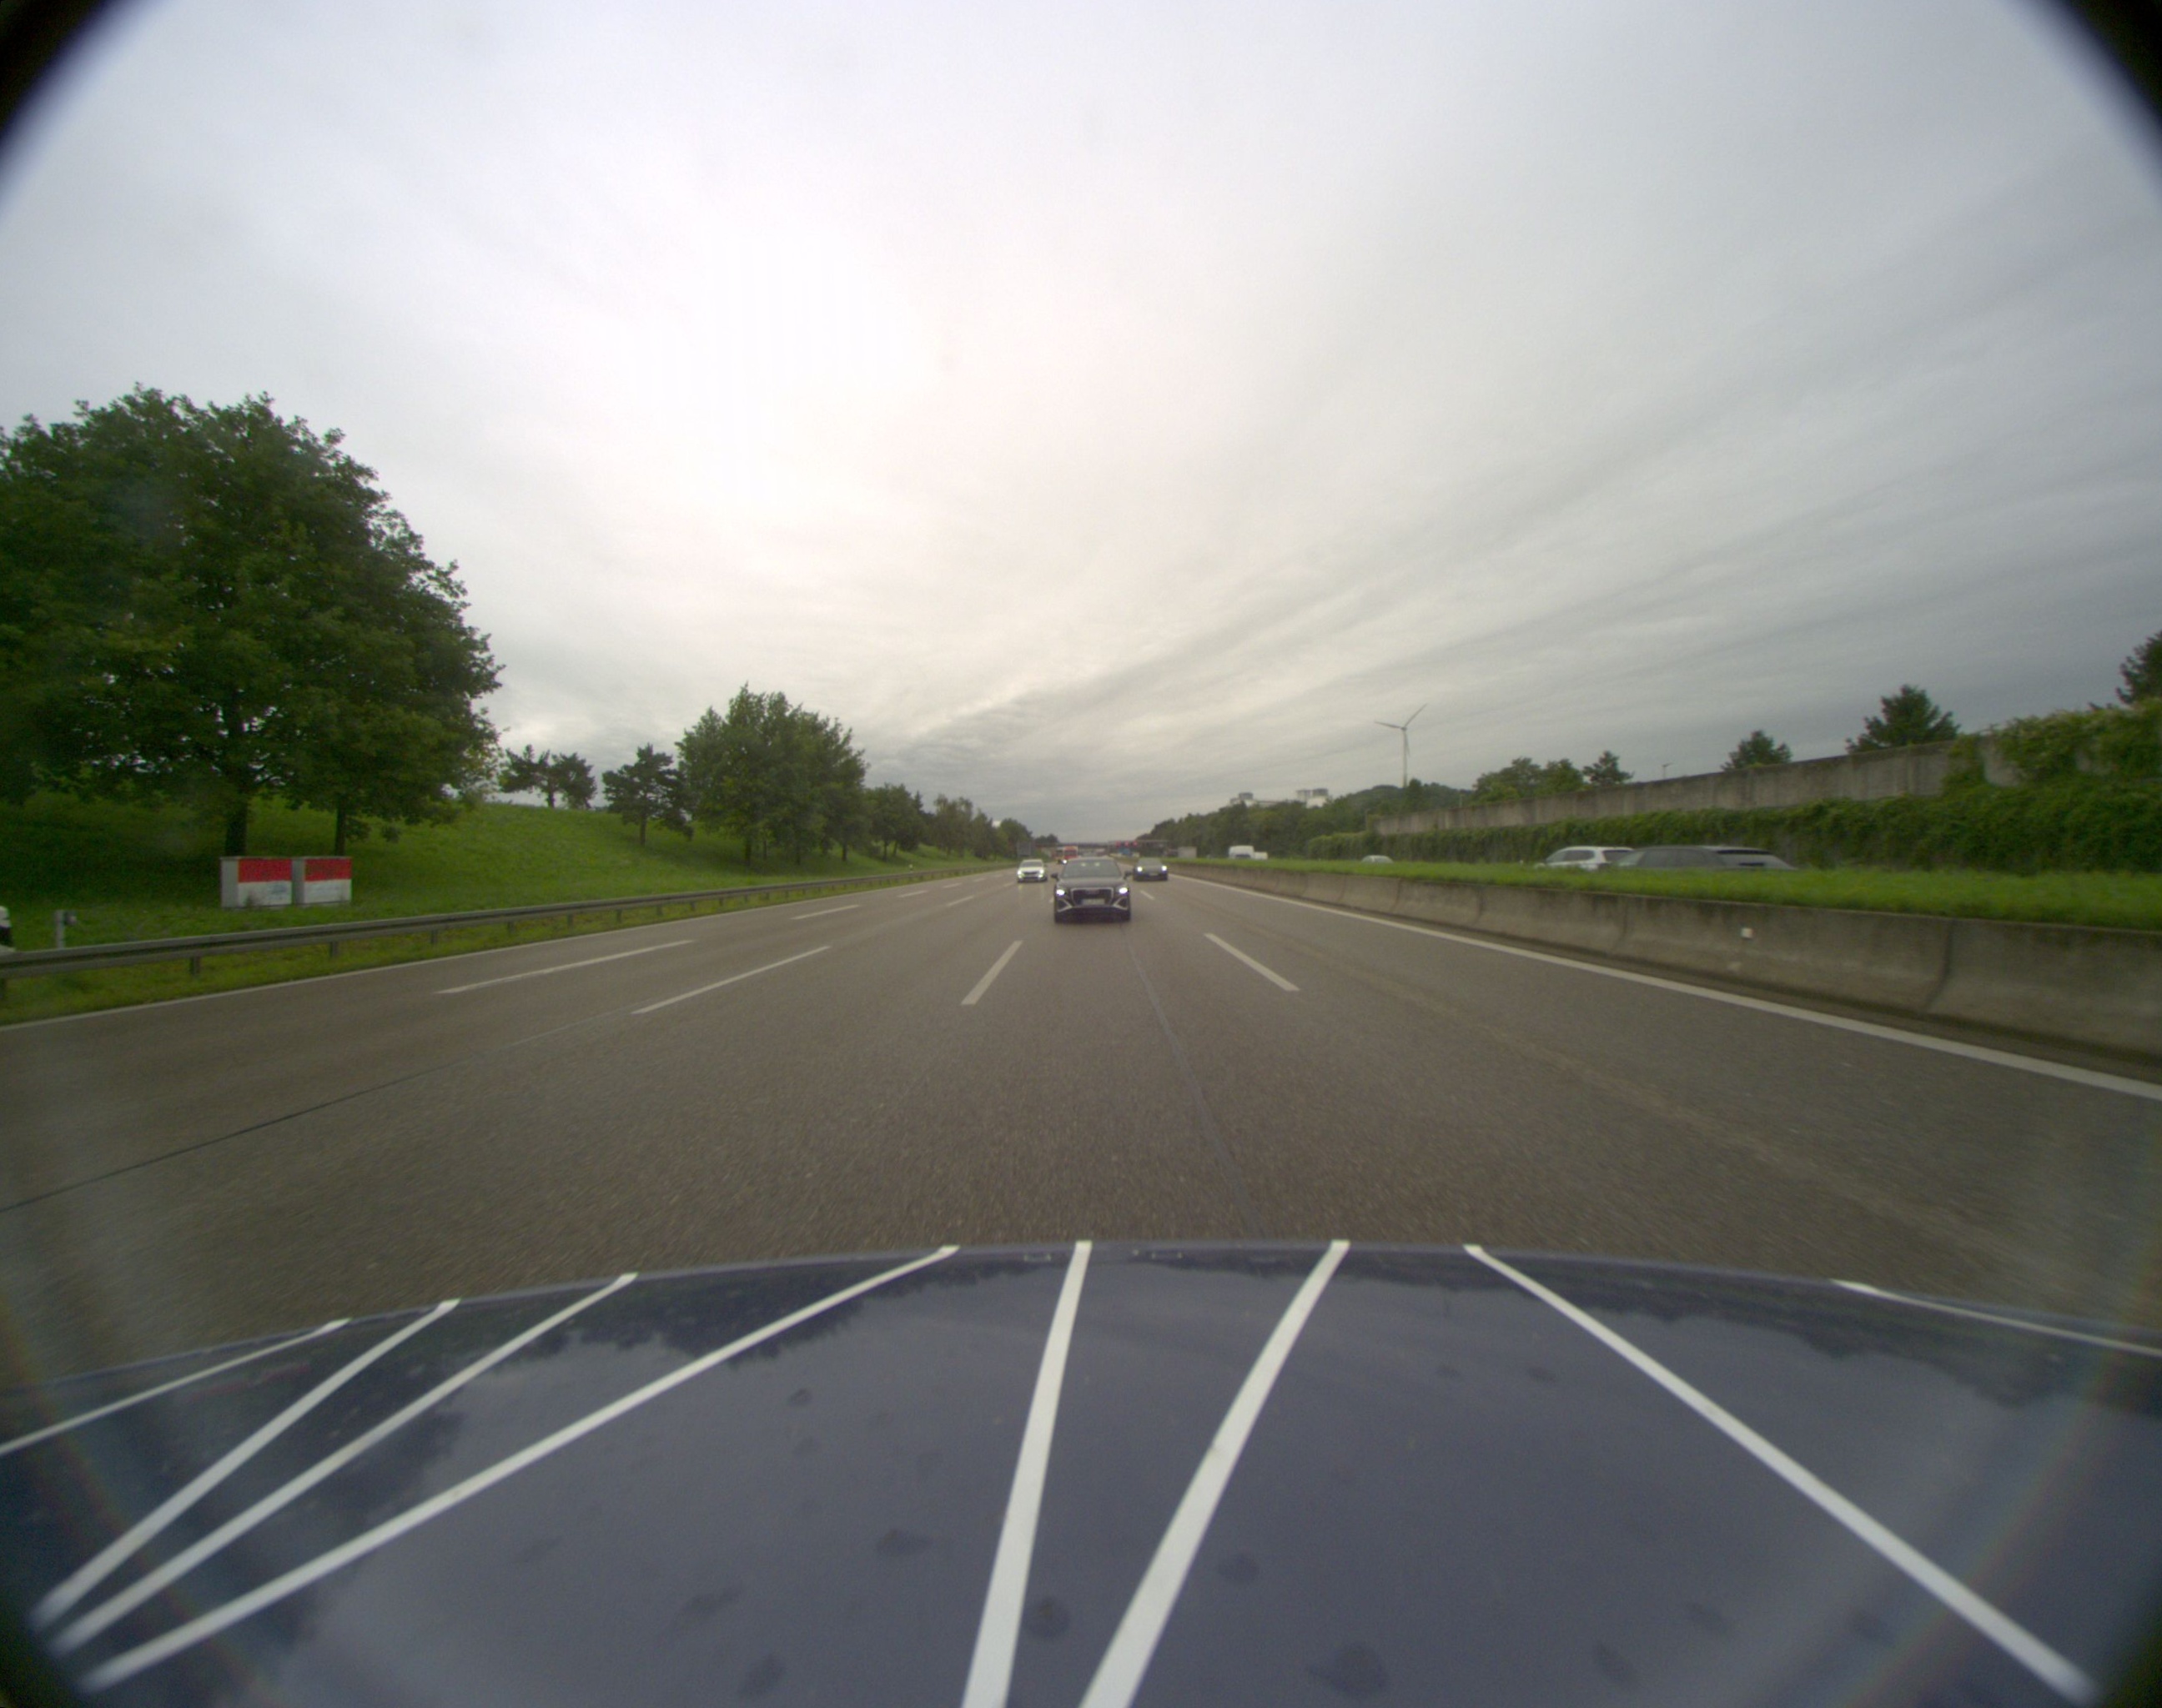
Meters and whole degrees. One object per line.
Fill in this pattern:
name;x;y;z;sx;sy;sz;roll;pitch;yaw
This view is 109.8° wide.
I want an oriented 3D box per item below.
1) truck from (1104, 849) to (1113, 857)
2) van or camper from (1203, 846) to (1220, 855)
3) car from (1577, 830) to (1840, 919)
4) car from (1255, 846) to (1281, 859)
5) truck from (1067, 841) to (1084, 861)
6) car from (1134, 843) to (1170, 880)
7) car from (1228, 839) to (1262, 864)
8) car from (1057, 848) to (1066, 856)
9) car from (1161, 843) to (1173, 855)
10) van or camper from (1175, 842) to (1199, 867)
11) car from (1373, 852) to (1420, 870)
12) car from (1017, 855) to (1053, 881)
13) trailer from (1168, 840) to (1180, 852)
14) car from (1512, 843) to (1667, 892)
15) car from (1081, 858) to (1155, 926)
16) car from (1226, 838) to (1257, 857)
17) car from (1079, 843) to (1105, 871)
truck;6.720;-0.207;187.218;1.998;2.002;4.000;-2;0;1
van or camper;28.485;-0.811;165.798;2.197;1.790;8.435;-2;1;0
car;12.712;0.362;15.830;1.998;1.534;4.224;-2;0;1
car;21.248;-0.178;86.601;1.884;1.336;4.527;-2;0;0
truck;-1.008;-0.610;142.414;2.836;3.634;10.670;-2;1;1
car;4.094;0.406;44.279;1.725;2.002;3.851;-2;1;1
car;13.895;-0.235;64.708;1.928;2.002;4.470;-2;1;1
car;-4.829;-0.539;190.054;1.998;2.002;4.000;-2;1;2
car;15.420;-0.901;136.139;1.772;2.002;4.000;-2;1;1
van or camper;17.446;-0.015;125.365;2.714;3.925;8.401;-2;1;1
car;20.674;0.455;49.932;1.609;1.089;3.274;-2;0;-2
car;-2.975;0.880;50.016;1.998;1.555;4.910;-2;0;1
trailer;26.672;-2.257;219.048;2.312;3.271;10.562;-2;1;2
car;16.982;0.394;25.763;1.998;1.446;4.934;-2;0;1
car;0.835;0.860;18.734;1.616;1.403;3.326;-2;1;0
car;17.828;-0.733;84.580;2.132;1.901;6.533;-2;1;1
car;1.181;0.291;80.602;2.459;2.726;8.265;-2;1;1
